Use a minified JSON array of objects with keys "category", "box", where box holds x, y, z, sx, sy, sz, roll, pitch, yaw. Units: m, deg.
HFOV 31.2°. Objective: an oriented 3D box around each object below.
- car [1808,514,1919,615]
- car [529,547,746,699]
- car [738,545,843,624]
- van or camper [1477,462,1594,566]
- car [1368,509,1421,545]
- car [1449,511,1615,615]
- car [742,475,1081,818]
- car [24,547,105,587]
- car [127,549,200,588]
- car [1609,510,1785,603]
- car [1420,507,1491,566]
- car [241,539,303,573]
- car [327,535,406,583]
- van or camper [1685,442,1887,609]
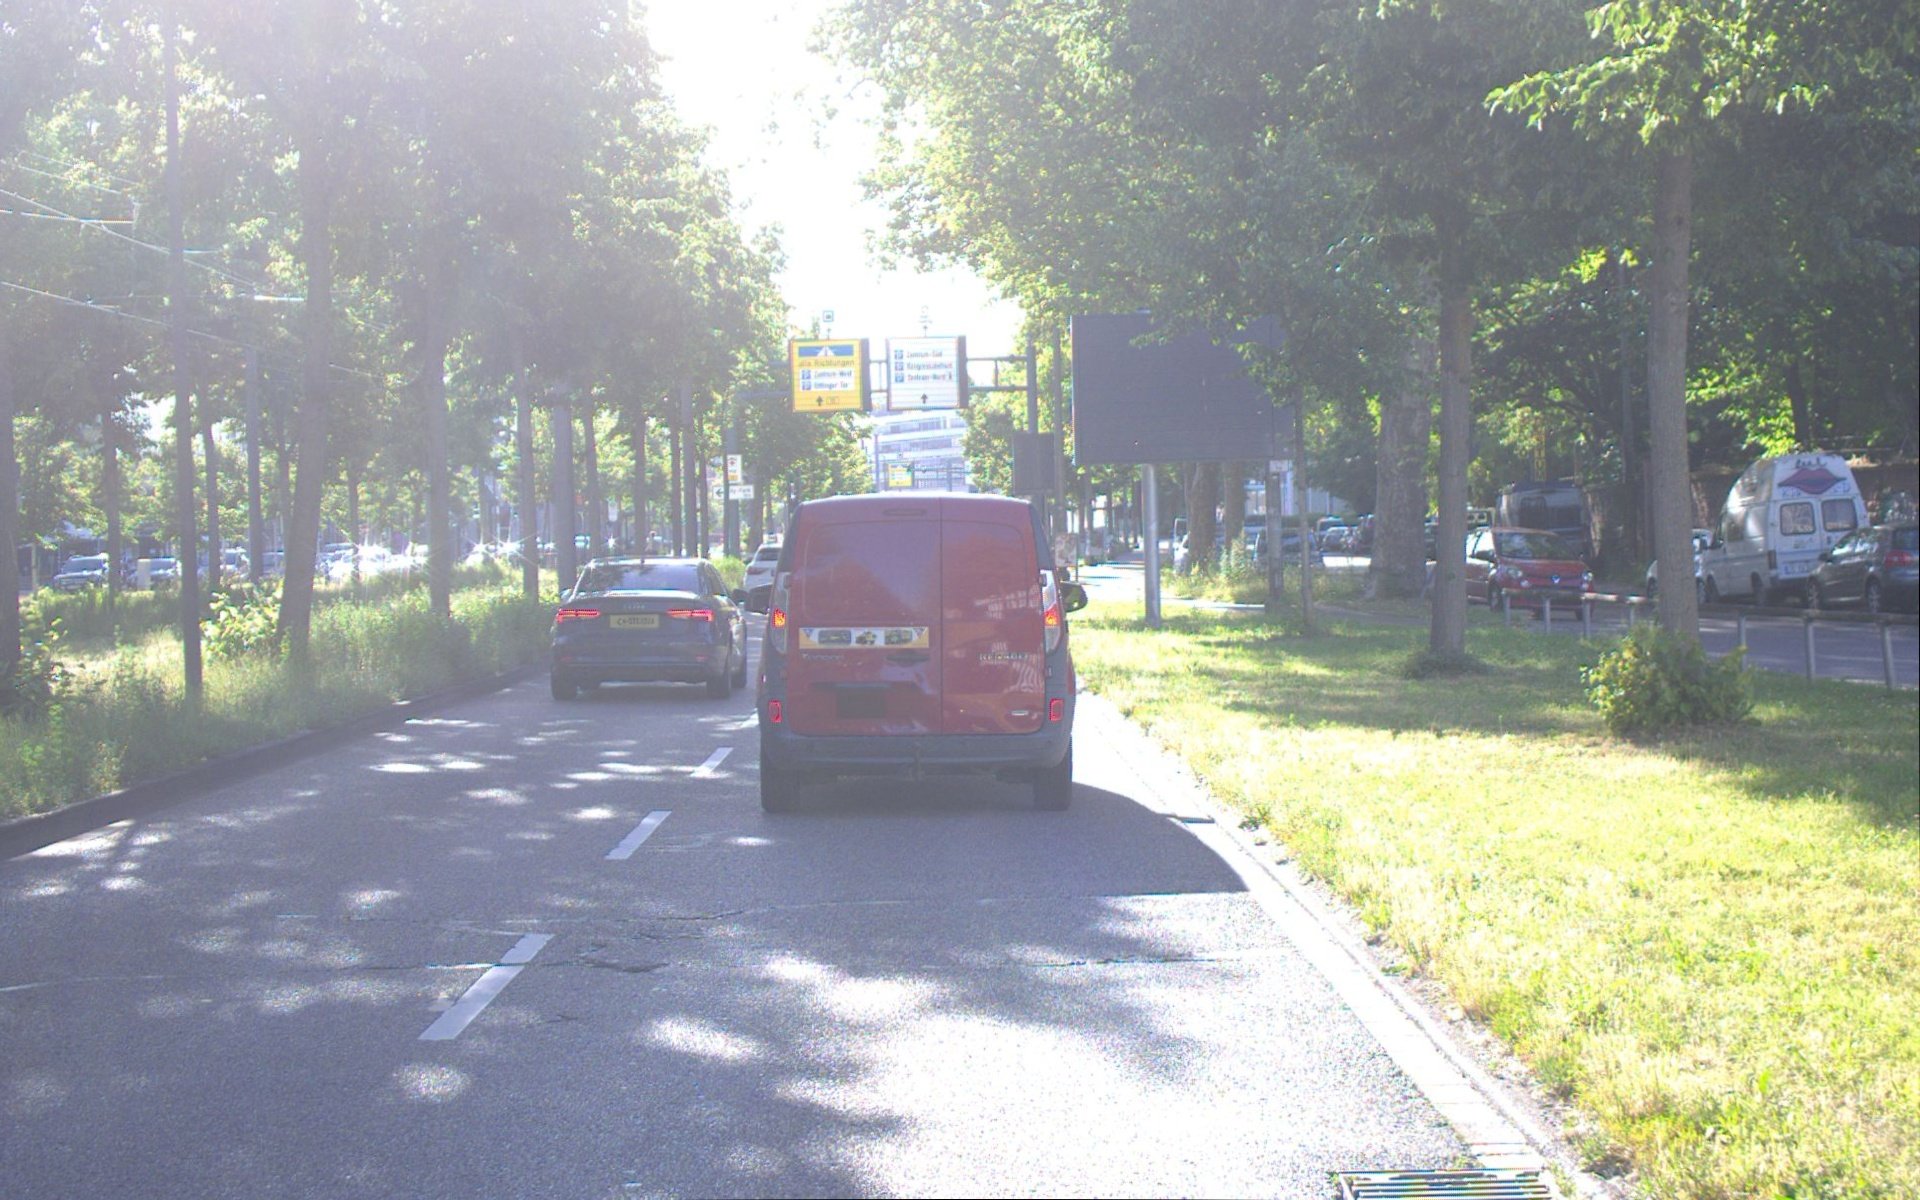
[{"category":"car","box":[15.215,-0.575,55.552,1.993,1.568,4.000,0,1,-1]},{"category":"car","box":[-3.170,0.188,34.455,1.792,1.423,4.000,0,1,0]},{"category":"car","box":[-3.527,-0.345,72.258,1.993,1.612,4.000,0,1,0]},{"category":"van or camper","box":[16.160,-2.441,96.901,2.557,2.675,6.564,-3,1,5]},{"category":"car","box":[20.140,-3.363,159.590,1.993,1.634,4.000,0,1,1]},{"category":"car","box":[9.352,-0.613,56.467,1.993,1.634,4.000,0,1,-1]},{"category":"car","box":[-0.366,0.225,20.436,1.808,1.831,4.001,0,1,-3]},{"category":"car","box":[-33.426,-1.256,128.429,1.879,1.430,4.611,-1,1,-2]},{"category":"car","box":[-33.051,-1.322,142.788,1.879,1.615,4.611,0,1,1]},{"category":"car","box":[14.367,-0.860,67.226,1.839,1.612,4.001,-5,2,-11]},{"category":"car","box":[17.249,-2.216,119.838,2.087,2.007,4.942,-1,1,5]},{"category":"car","box":[-32.902,-2.091,164.483,1.993,1.603,4.611,0,1,1]},{"category":"car","box":[-21.288,-1.470,123.444,1.993,1.680,5.111,0,1,-1]},{"category":"van or camper","box":[14.675,-1.311,61.384,1.993,2.722,4.965,-4,1,-3]}]
